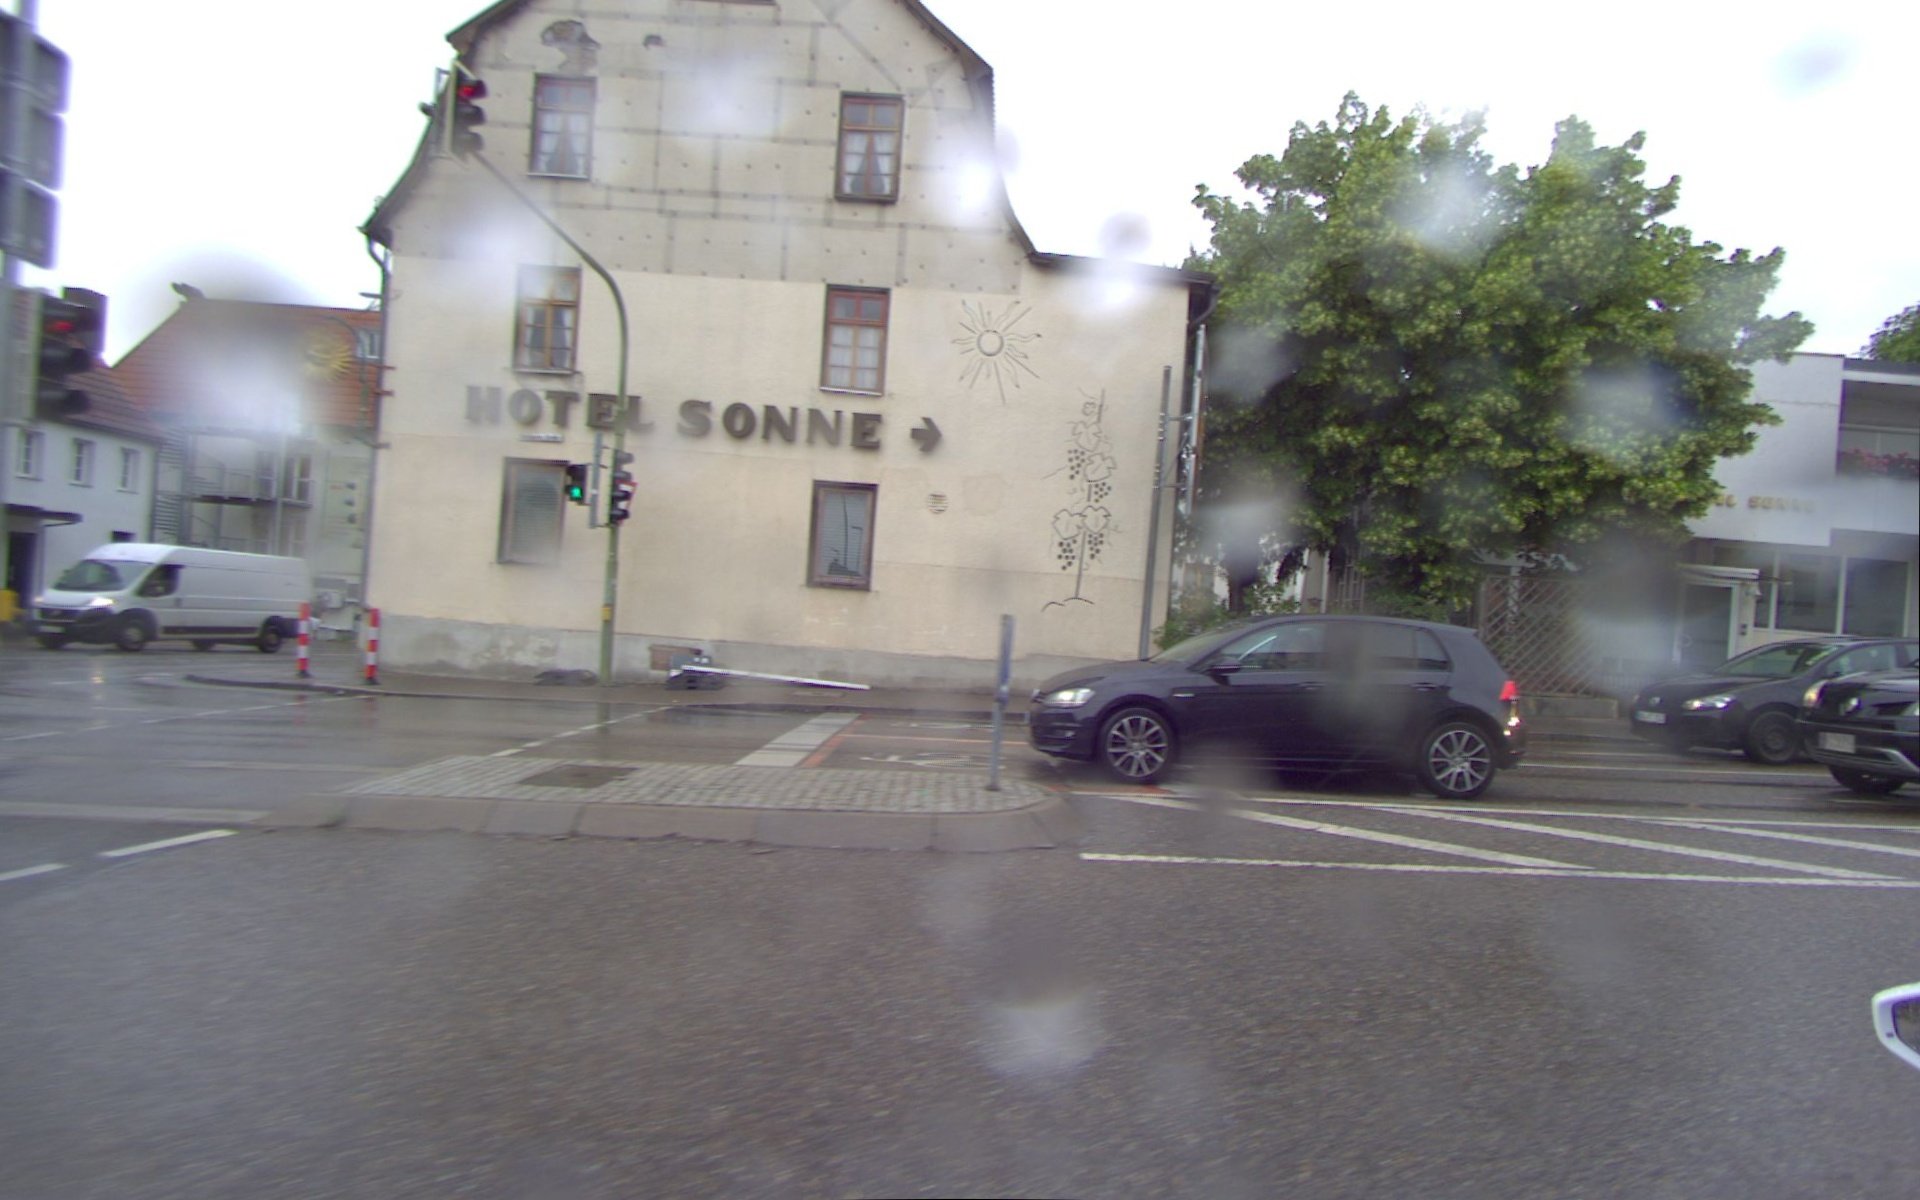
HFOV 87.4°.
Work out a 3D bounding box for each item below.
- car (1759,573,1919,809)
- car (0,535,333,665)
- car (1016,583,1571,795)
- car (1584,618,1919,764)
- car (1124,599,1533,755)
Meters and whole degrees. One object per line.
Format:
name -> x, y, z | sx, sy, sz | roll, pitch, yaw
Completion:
car -> 9.606, 0.799, 8.515 | 4.230, 1.839, 1.779 | 2, -2, 0
car -> -18.831, -0.042, 24.467 | 2.543, 2.661, 6.560 | 2, 1, 6
car -> 2.686, 0.729, 8.778 | 4.231, 1.524, 1.779 | 2, -2, -1
car -> 10.145, 1.068, 12.126 | 4.103, 1.538, 1.779 | 2, -2, 0
car -> 4.117, 0.855, 11.726 | 4.103, 1.538, 1.779 | 2, -2, 0
